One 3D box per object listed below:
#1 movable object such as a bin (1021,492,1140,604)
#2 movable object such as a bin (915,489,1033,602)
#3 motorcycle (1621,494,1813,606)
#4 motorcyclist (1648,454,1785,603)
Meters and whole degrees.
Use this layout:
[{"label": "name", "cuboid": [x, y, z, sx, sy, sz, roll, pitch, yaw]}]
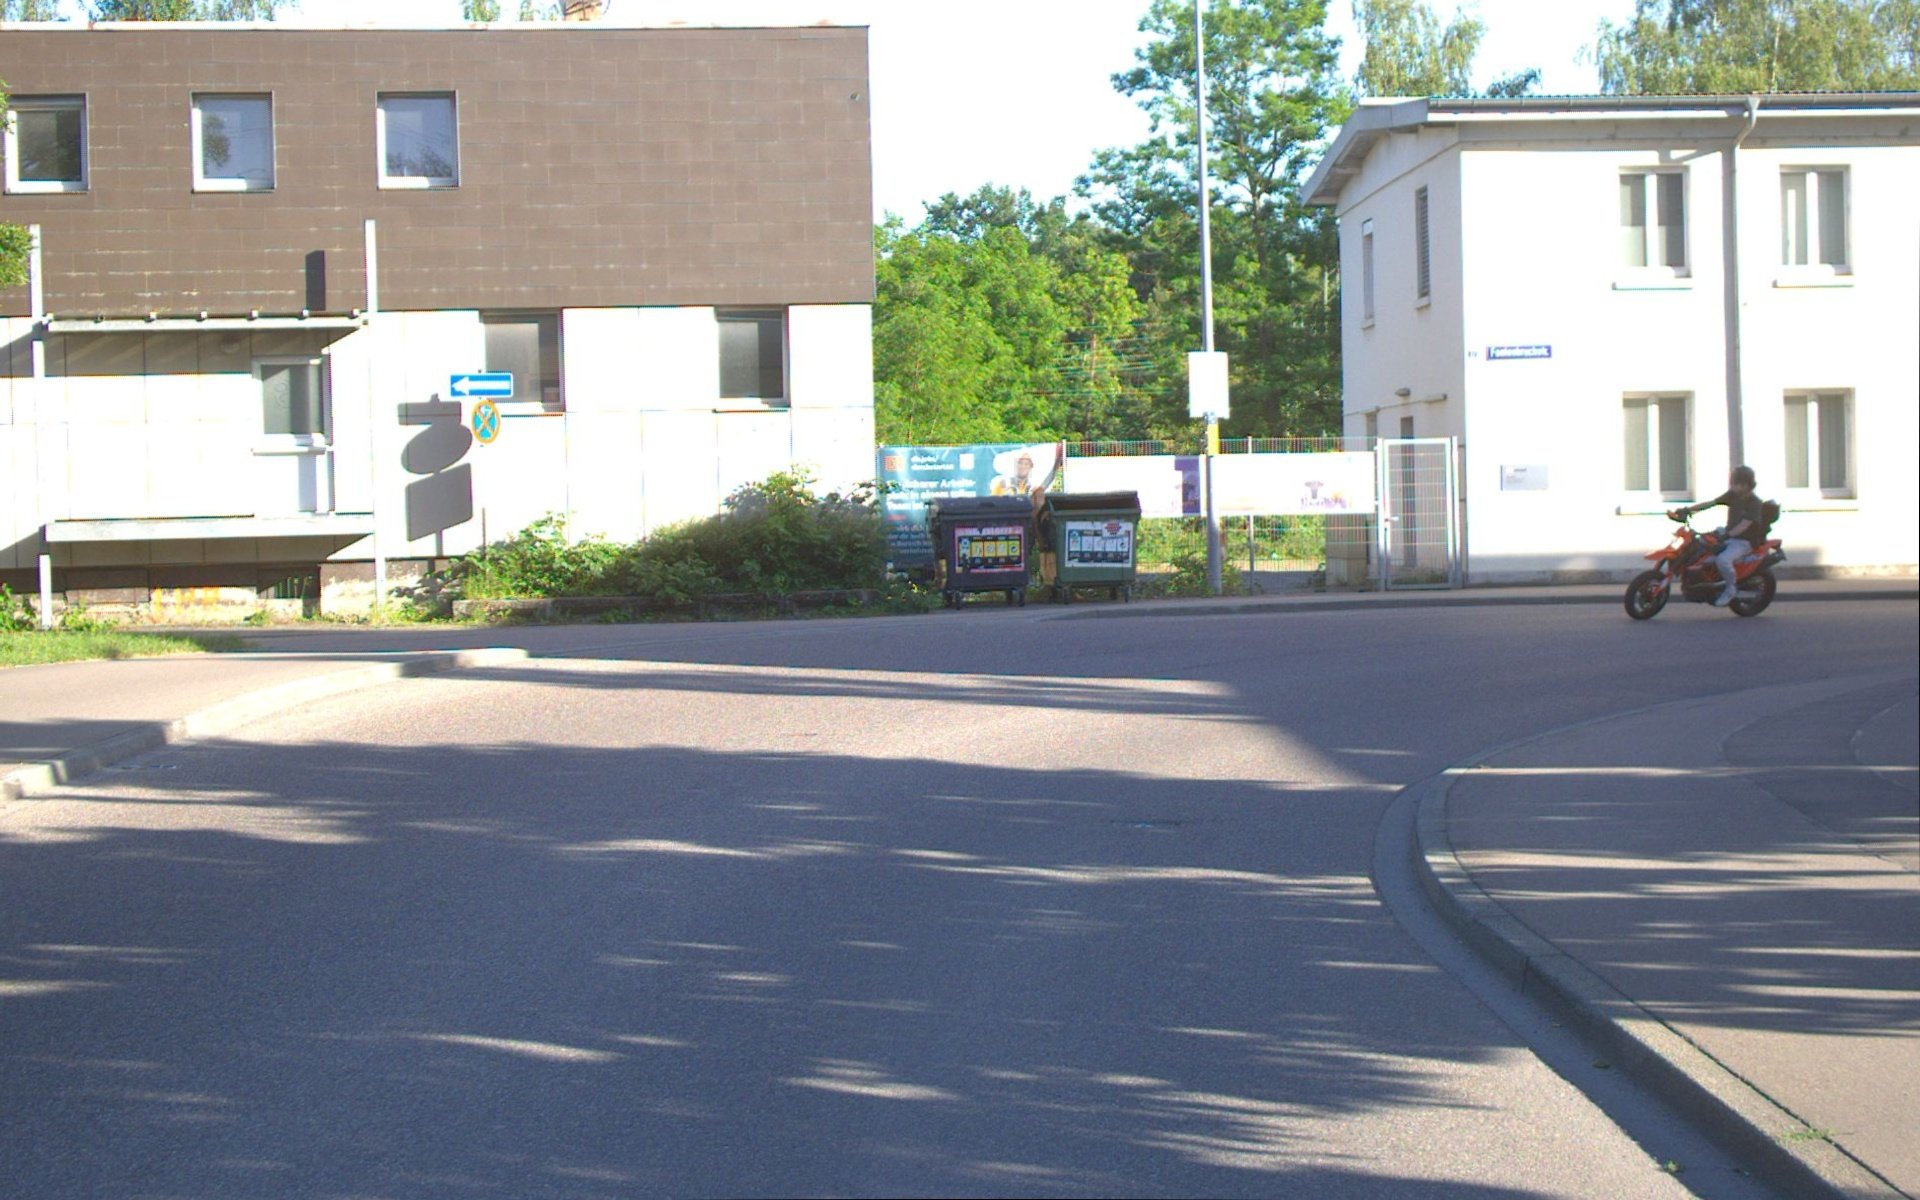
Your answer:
[{"label": "movable object such as a bin", "cuboid": [1.559, -0.677, 44.706, 1.364, 1.413, 1.066, 1, 1, -7]}, {"label": "movable object such as a bin", "cuboid": [0.170, -0.697, 44.355, 1.364, 1.413, 1.066, 1, 1, -7]}, {"label": "motorcycle", "cuboid": [8.319, -0.566, 37.747, 2.030, 1.182, 0.962, -2, 2, -37]}, {"label": "motorcyclist", "cuboid": [8.298, -0.785, 37.716, 0.895, 1.548, 1.031, 1, 4, -37]}]
